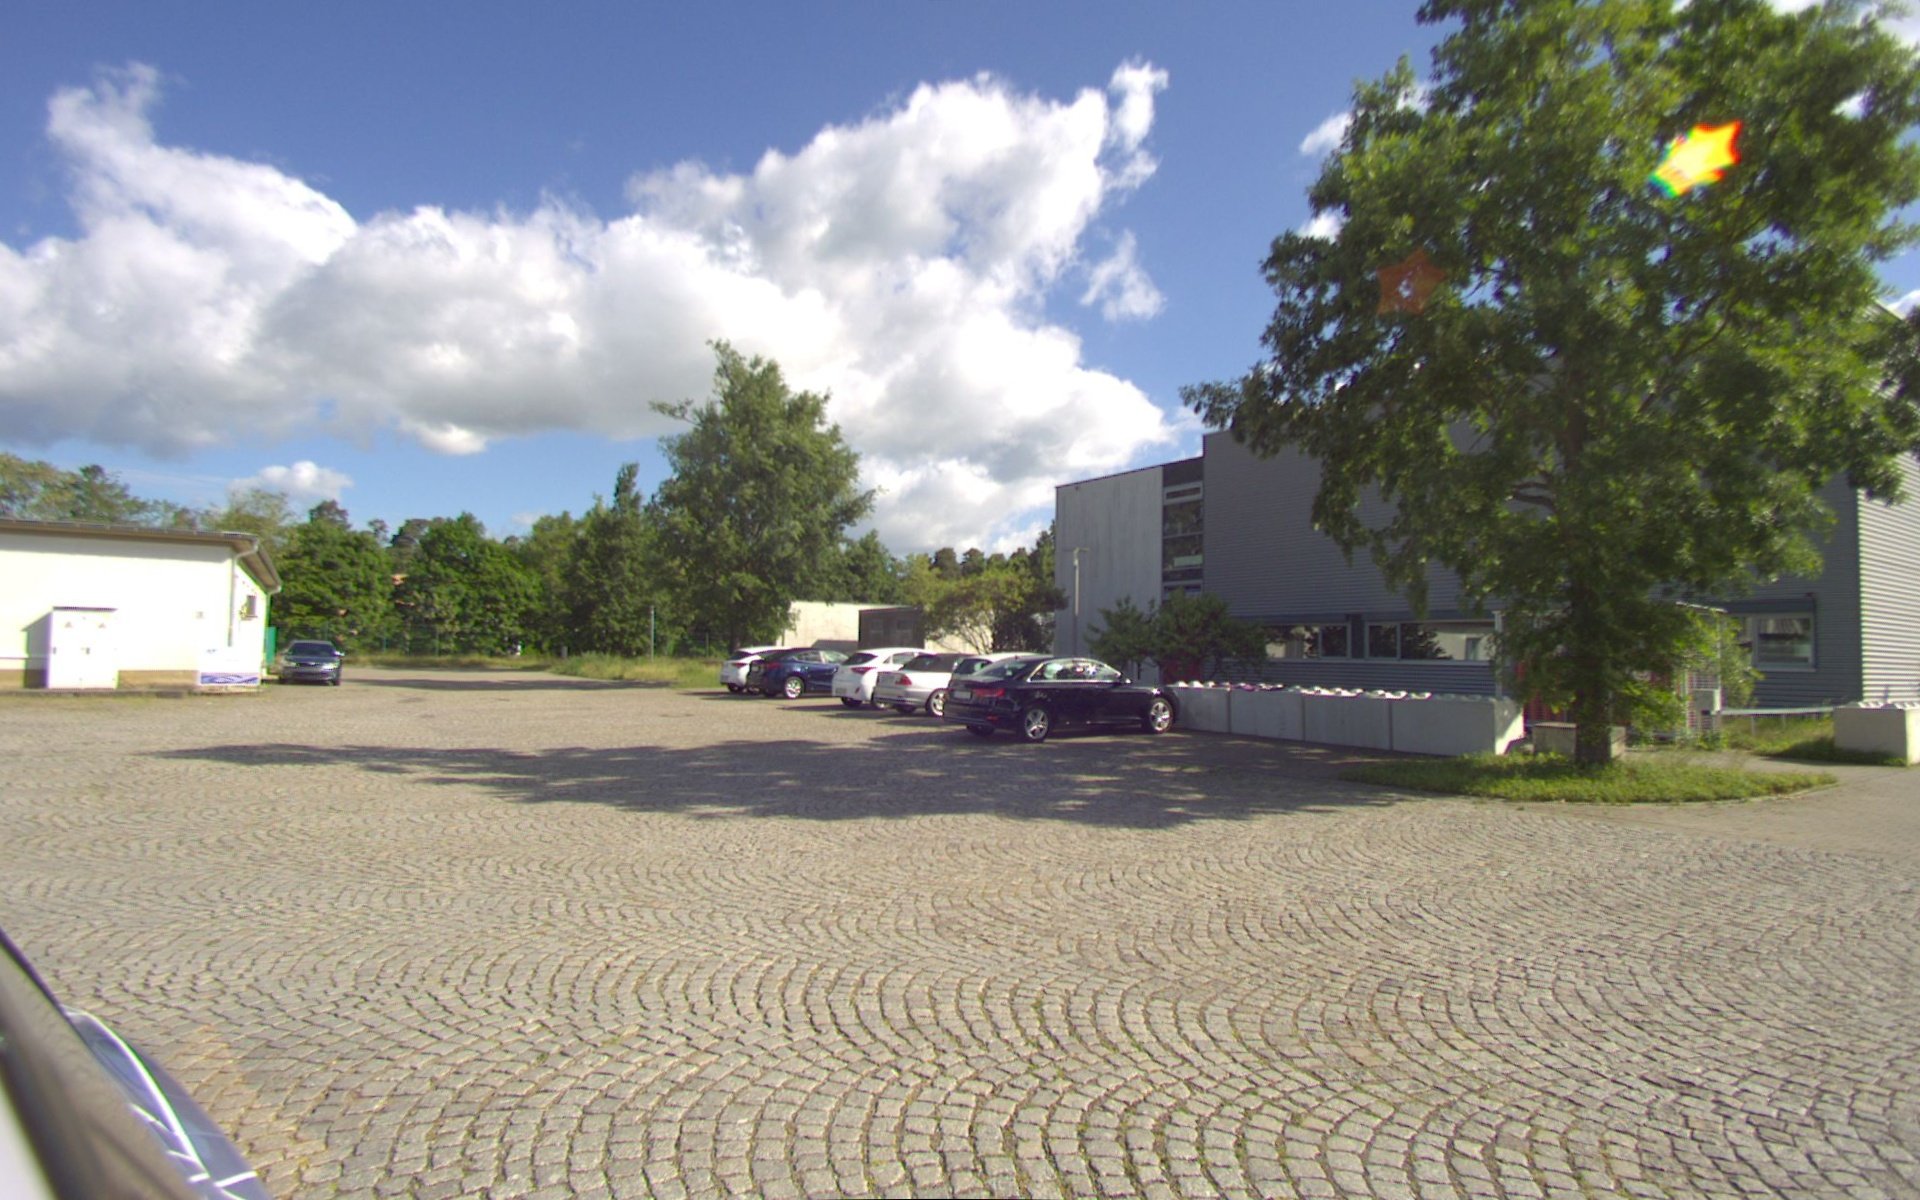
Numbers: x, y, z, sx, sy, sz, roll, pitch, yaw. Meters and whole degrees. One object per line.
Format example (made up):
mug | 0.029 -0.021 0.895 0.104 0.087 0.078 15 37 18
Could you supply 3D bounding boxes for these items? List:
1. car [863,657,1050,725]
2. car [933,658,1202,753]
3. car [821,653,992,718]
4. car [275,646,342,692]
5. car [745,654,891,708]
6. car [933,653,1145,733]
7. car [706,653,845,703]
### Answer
car | -0.053 1.987 22.773 3.858 1.382 1.733 1 -3 -32
car | 1.967 1.766 17.883 4.654 1.434 1.762 1 -3 -34
car | -1.304 2.058 25.026 3.858 1.458 1.760 1 -3 -32
car | -22.130 2.329 34.468 1.739 1.446 4.003 4 -5 -32
car | -4.104 2.304 29.398 3.858 1.428 1.697 1 -3 -32
car | 1.654 1.861 20.928 4.080 1.471 1.696 1 -3 -27
car | -5.730 2.392 31.535 3.858 1.446 1.801 1 -3 -32
